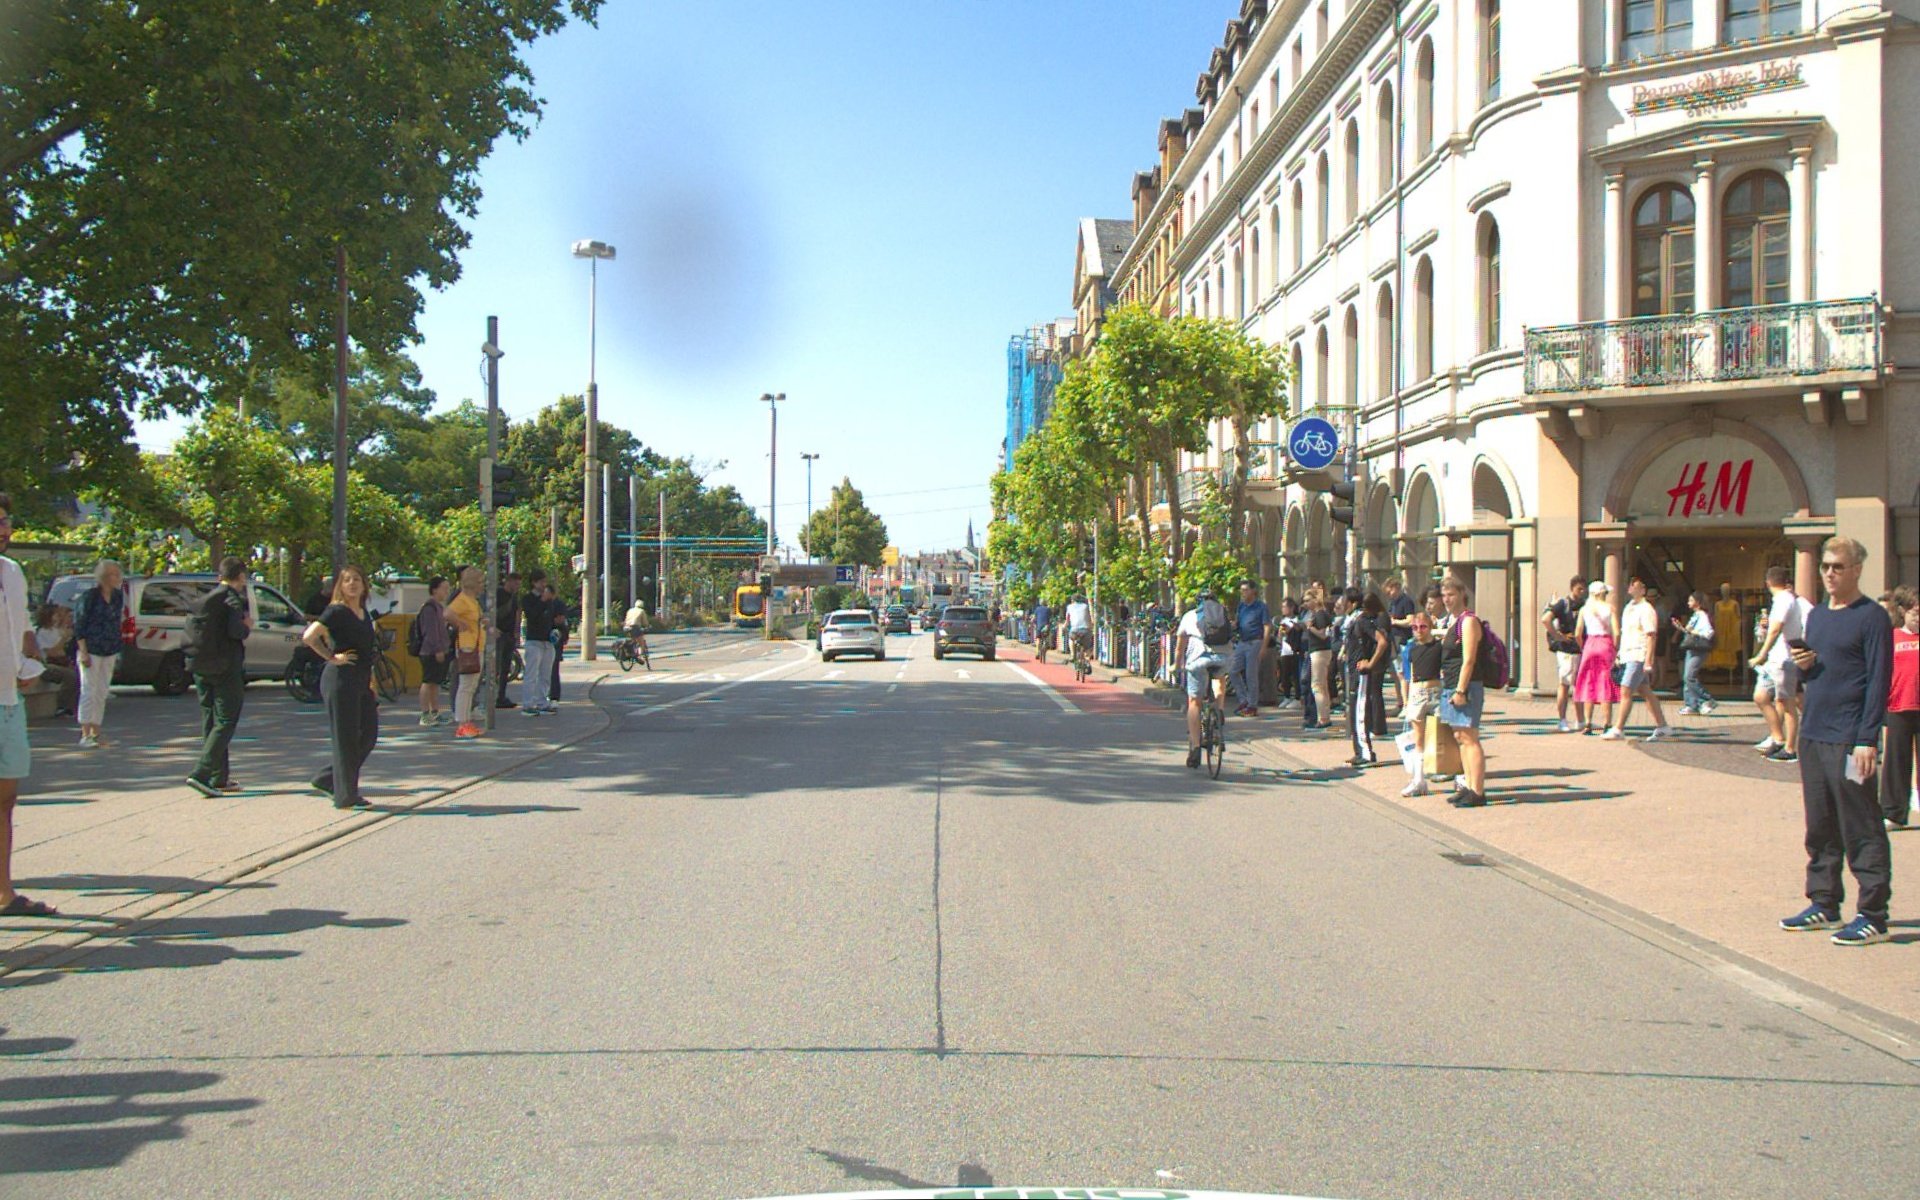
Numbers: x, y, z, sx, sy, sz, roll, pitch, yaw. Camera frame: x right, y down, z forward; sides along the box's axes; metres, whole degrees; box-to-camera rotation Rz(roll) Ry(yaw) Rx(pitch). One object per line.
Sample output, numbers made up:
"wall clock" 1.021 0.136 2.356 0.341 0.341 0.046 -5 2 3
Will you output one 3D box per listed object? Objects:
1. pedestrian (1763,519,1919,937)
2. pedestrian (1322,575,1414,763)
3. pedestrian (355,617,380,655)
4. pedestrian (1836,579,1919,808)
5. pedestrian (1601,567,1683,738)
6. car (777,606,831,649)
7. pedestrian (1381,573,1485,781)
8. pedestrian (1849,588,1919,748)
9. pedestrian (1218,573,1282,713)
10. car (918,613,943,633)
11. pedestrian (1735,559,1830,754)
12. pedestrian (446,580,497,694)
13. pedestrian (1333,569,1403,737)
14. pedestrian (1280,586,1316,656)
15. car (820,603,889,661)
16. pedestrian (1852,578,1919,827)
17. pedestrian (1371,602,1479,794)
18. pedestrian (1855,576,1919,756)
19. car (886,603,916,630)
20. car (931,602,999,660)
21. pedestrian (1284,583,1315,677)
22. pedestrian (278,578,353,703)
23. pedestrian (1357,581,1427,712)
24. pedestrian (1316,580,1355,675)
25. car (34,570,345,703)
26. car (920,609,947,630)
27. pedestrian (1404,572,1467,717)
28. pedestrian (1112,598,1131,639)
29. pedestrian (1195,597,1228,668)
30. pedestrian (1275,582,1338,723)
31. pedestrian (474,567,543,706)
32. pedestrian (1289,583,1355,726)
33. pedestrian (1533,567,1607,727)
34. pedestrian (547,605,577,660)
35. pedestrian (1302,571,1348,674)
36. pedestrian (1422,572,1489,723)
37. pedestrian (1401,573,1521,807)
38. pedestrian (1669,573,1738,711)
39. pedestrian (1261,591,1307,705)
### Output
"pedestrian" 4.311 0.596 8.006 0.512 1.931 0.641 -1 -1 2
"pedestrian" 4.014 0.667 16.305 0.598 1.770 0.677 -4 -1 -3
"pedestrian" -21.627 1.307 60.354 0.640 1.359 0.712 0 -1 0
"pedestrian" 6.899 0.674 12.191 0.512 1.637 0.641 -1 -1 -1
"pedestrian" 7.483 0.567 18.168 0.598 1.838 0.677 0 -1 -3
"car" -5.964 1.031 63.755 1.808 1.587 3.998 0 0 -2
"pedestrian" 4.248 0.681 14.884 0.598 1.790 0.677 -4 -1 -3
"pedestrian" 9.871 0.711 17.510 0.529 1.662 0.677 1 -1 -3
"pedestrian" 4.090 0.603 23.313 0.674 1.931 0.611 -3 -1 25
"car" -2.252 1.727 125.273 1.808 1.438 3.998 0 0 -2
"pedestrian" 8.098 0.547 16.295 0.662 1.888 0.541 0 -1 -3
"pedestrian" -7.640 0.570 25.887 0.598 1.755 0.677 0 -1 -3
"pedestrian" 4.592 0.591 18.636 0.598 1.855 0.677 0 -1 -3
"pedestrian" 7.759 0.474 37.970 0.662 1.600 0.611 0 -1 -3
"car" -3.045 0.904 48.542 1.808 1.587 3.999 -1 0 -1
"pedestrian" 6.509 0.673 11.234 0.512 1.640 0.641 -1 -1 -1
"pedestrian" 3.920 0.811 13.984 0.598 1.541 0.677 -4 -1 -3
"pedestrian" 9.360 0.646 16.429 0.529 1.746 0.677 1 -1 -5
"car" -3.633 1.013 101.663 1.808 1.587 3.998 0 0 -2
"car" 0.108 0.877 48.687 1.808 1.586 3.998 0 0 -2
"pedestrian" 6.618 0.583 32.295 0.467 1.823 0.612 0 -1 -1
"pedestrian" -9.434 0.582 24.221 0.665 1.795 0.765 0 -1 28
"pedestrian" 5.859 0.620 22.451 0.603 1.735 0.671 -1 0 -29
"pedestrian" 7.331 0.537 32.301 0.615 1.823 0.612 0 -1 -1
"car" -12.500 0.568 27.227 1.820 1.989 4.762 0 -1 20
"car" -1.839 1.343 114.493 1.808 1.438 3.998 0 0 -2
"pedestrian" 6.112 0.565 21.270 0.598 1.838 0.677 0 -1 -3
"pedestrian" 6.310 0.713 64.795 0.662 1.600 0.611 0 -1 -3
"pedestrian" 6.032 0.772 39.719 0.662 1.694 0.611 0 -1 -3
"pedestrian" 4.395 0.660 20.989 0.571 1.729 0.605 -3 -1 -3
"pedestrian" -6.171 0.494 22.608 0.605 1.855 0.663 0 -1 28
"pedestrian" 4.437 0.662 20.305 0.571 1.703 0.605 -3 -1 -3
"pedestrian" 7.222 0.550 19.597 0.598 1.855 0.677 0 -1 -3
"pedestrian" -12.028 0.984 49.978 0.755 1.657 0.611 0 -1 -2
"pedestrian" 6.489 0.398 29.408 0.662 1.823 0.612 0 -1 -1
"pedestrian" 6.148 0.579 20.540 0.598 1.838 0.677 0 -1 -3
"pedestrian" 4.013 0.706 13.291 0.658 1.800 0.677 -2 -1 -3
"pedestrian" 9.804 0.550 21.825 0.598 1.794 0.677 0 -1 -3
"pedestrian" 4.781 0.692 24.376 0.519 1.622 0.611 0 2 25
